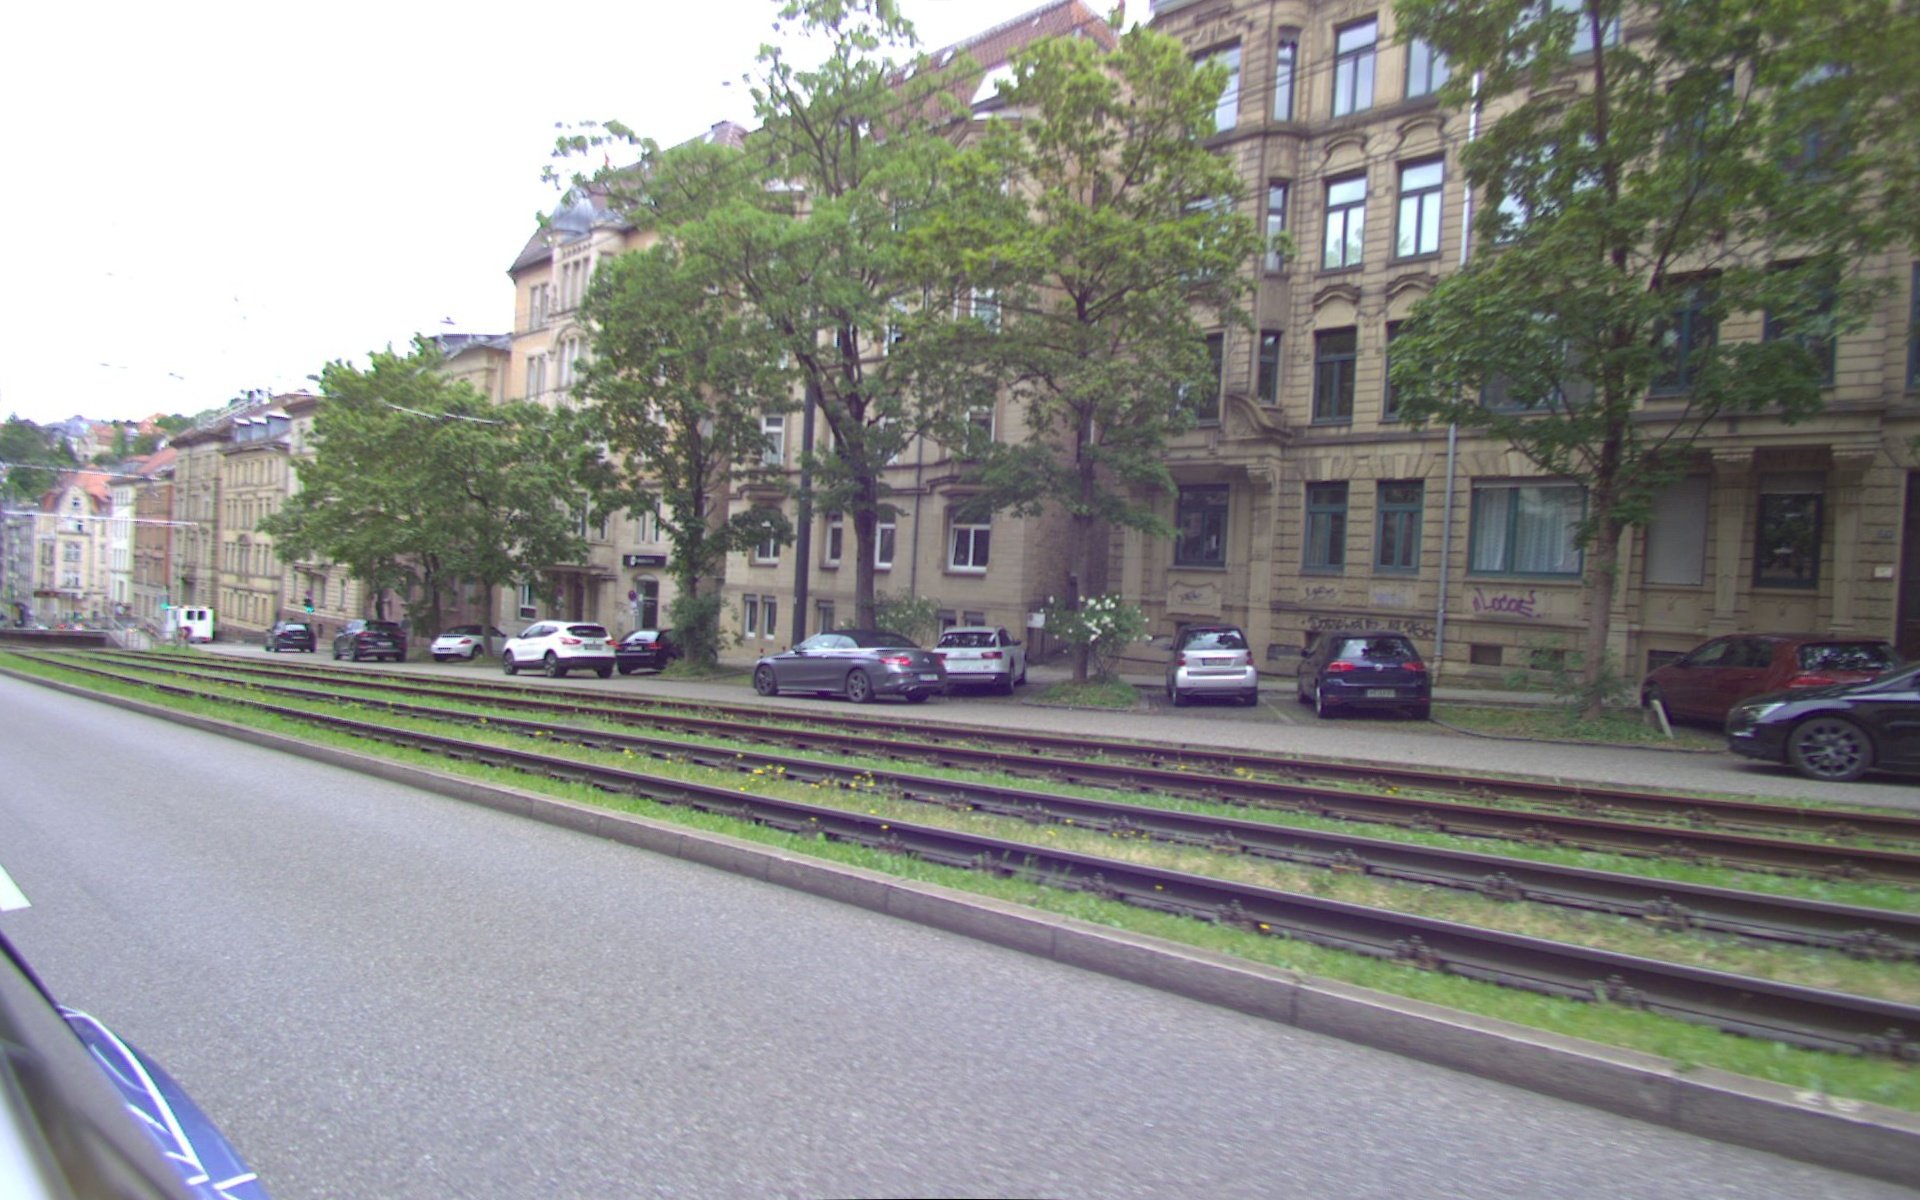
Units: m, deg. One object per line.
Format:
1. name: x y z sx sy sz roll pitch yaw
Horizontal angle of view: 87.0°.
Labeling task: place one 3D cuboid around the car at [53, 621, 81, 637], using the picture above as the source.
1. car: -78.562 2.578 89.042 3.656 1.388 1.559 -2 -3 44

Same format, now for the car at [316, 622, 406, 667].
1. car: -23.565 1.724 39.743 4.241 1.669 1.761 -1 -4 41

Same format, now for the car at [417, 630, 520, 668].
1. car: -19.850 1.960 41.070 1.766 1.433 3.988 0 -2 9

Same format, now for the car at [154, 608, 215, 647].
1. car: -57.469 2.069 74.956 6.518 2.720 2.366 -1 -4 43

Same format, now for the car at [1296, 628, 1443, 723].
1. car: 7.068 1.232 17.867 1.854 1.446 4.171 0 -2 15

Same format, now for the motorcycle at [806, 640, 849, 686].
1. motorcycle: -3.412 1.610 26.217 0.618 1.066 2.201 0 0 6

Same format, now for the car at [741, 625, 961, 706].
1. car: -2.281 1.251 20.250 4.595 1.421 1.706 -1 -4 41

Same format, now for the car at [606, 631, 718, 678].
1. car: -9.376 1.678 32.191 1.694 1.375 4.169 0 -2 11

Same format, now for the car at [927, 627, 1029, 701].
1. car: 0.505 1.426 22.843 1.766 1.481 4.143 1 -3 9

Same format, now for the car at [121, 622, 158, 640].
1. car: -69.162 2.642 85.292 4.748 1.439 1.729 -2 -4 43

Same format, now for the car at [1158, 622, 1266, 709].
1. car: 5.044 1.266 20.748 1.851 1.585 4.177 0 -2 10

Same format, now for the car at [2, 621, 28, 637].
1. car: -104.320 3.245 111.714 4.575 1.749 1.691 -1 -3 42

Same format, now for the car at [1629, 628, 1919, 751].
1. car: 11.369 1.134 14.162 1.852 1.446 4.176 0 -2 11

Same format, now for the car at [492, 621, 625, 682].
1. car: -11.643 1.466 29.235 4.344 1.629 1.761 -1 -4 41

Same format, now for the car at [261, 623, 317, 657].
1. car: -35.411 2.094 53.353 1.857 1.663 4.476 4 -4 -41

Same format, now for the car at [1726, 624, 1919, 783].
1. car: 10.045 1.009 9.474 4.491 1.446 1.846 -1 -5 41

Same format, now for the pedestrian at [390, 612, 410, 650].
1. pedestrian: -29.827 1.652 53.901 0.796 2.029 0.713 -2 -3 39
